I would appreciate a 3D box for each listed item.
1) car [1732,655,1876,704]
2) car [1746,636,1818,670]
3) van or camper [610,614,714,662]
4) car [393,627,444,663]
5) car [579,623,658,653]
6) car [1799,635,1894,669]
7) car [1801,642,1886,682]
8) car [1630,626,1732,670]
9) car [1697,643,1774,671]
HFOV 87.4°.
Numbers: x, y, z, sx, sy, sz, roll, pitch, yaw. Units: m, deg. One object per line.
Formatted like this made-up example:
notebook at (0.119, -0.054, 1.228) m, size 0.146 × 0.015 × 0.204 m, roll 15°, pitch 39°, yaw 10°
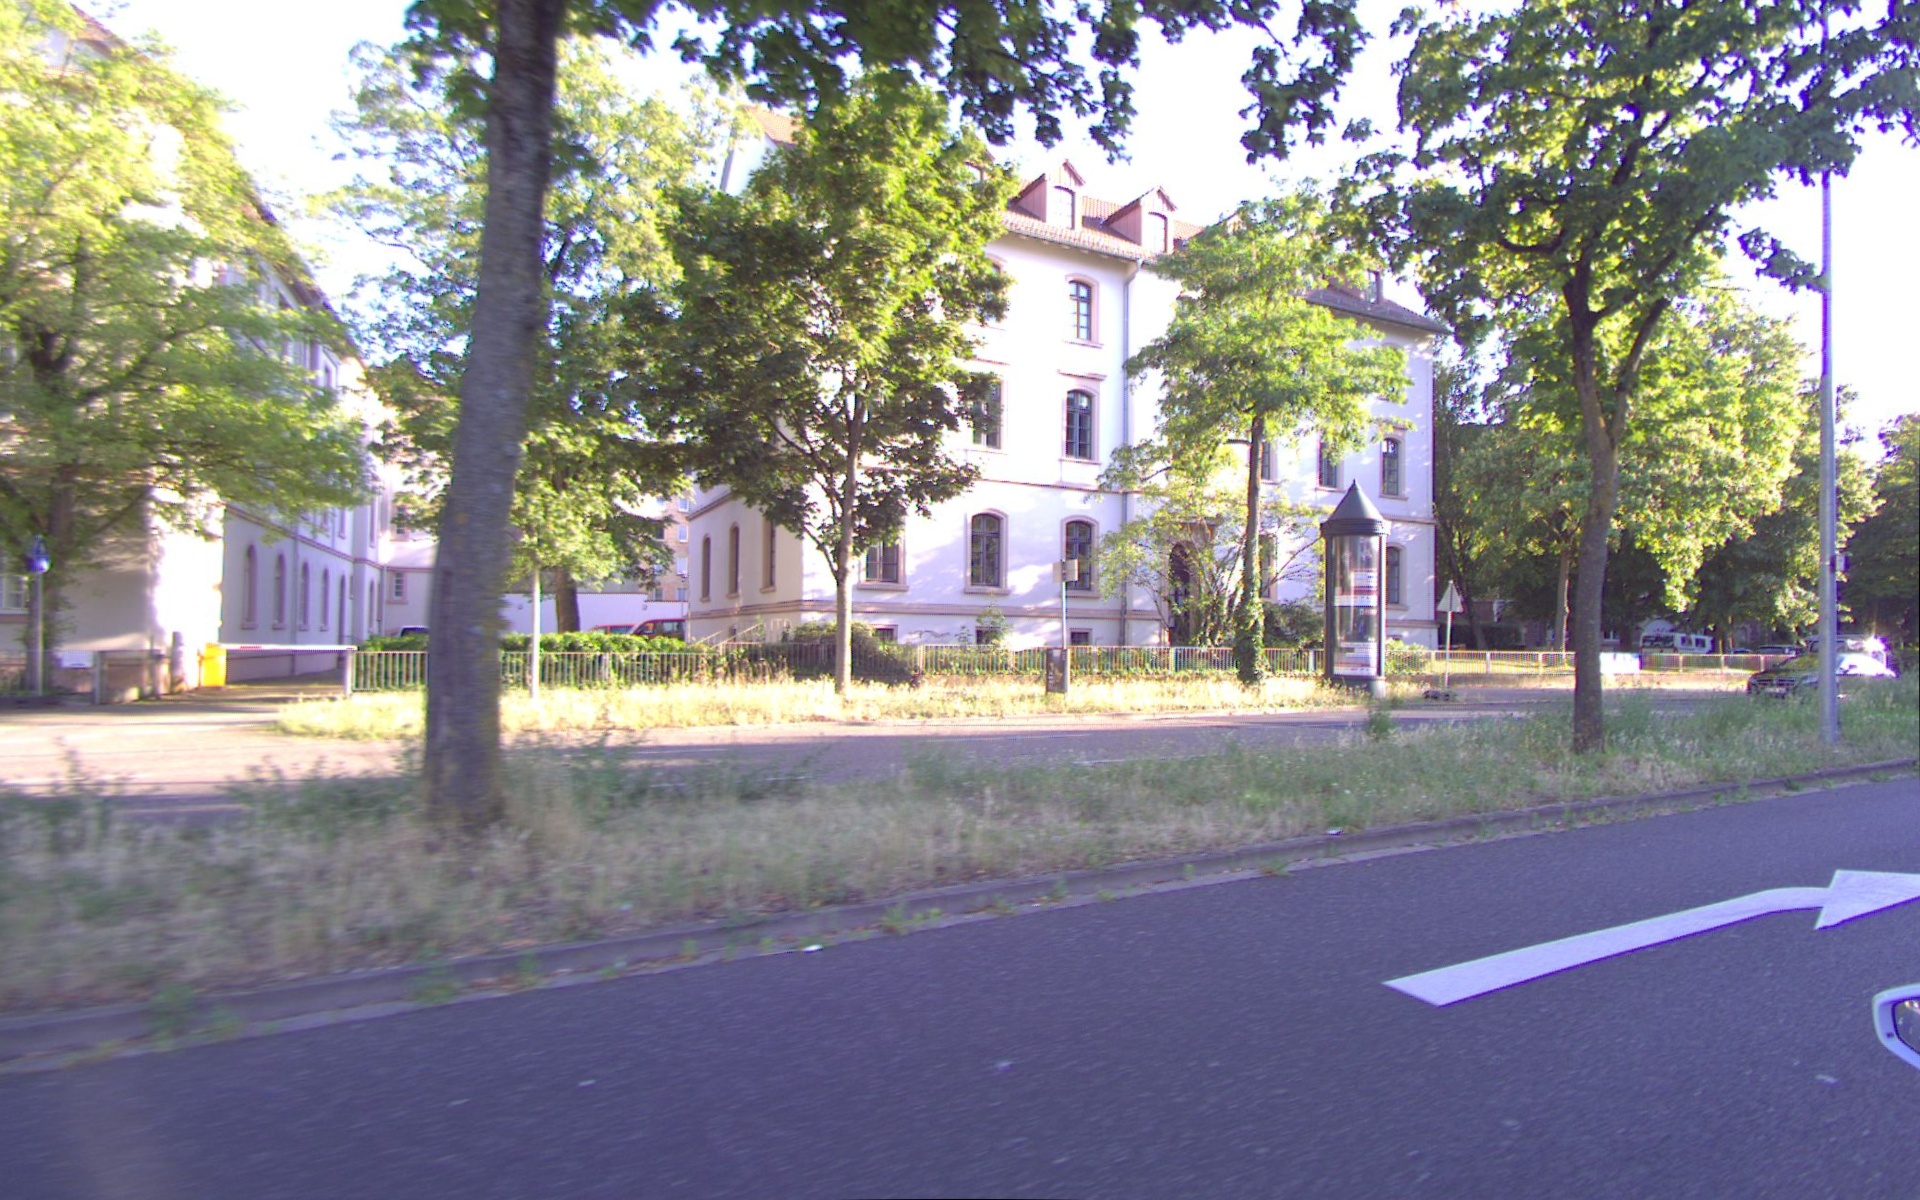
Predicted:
car at (23.895, 2.239, 28.420) m, size 3.958 × 1.289 × 1.767 m, roll 2°, pitch -6°, yaw -29°
car at (49.541, 3.196, 60.527) m, size 3.951 × 1.907 × 1.985 m, roll 2°, pitch 0°, yaw -29°
van or camper at (-13.996, 1.806, 47.181) m, size 4.320 × 2.107 × 1.984 m, roll 2°, pitch 0°, yaw -30°
car at (-24.643, 2.059, 45.815) m, size 1.755 × 1.568 × 3.985 m, roll 1°, pitch -3°, yaw -24°
car at (-18.618, 2.065, 54.814) m, size 3.767 × 1.518 × 1.984 m, roll 2°, pitch 0°, yaw -30°
car at (69.591, 4.048, 78.963) m, size 5.128 × 2.518 × 2.275 m, roll 1°, pitch -2°, yaw 10°
car at (42.353, 2.946, 48.138) m, size 3.951 × 1.819 × 1.811 m, roll 2°, pitch -1°, yaw -29°
car at (39.525, 2.631, 55.084) m, size 5.024 × 2.319 × 2.211 m, roll 2°, pitch -1°, yaw -22°
car at (40.484, 2.962, 52.423) m, size 3.951 × 1.350 × 1.725 m, roll 2°, pitch -1°, yaw -29°
